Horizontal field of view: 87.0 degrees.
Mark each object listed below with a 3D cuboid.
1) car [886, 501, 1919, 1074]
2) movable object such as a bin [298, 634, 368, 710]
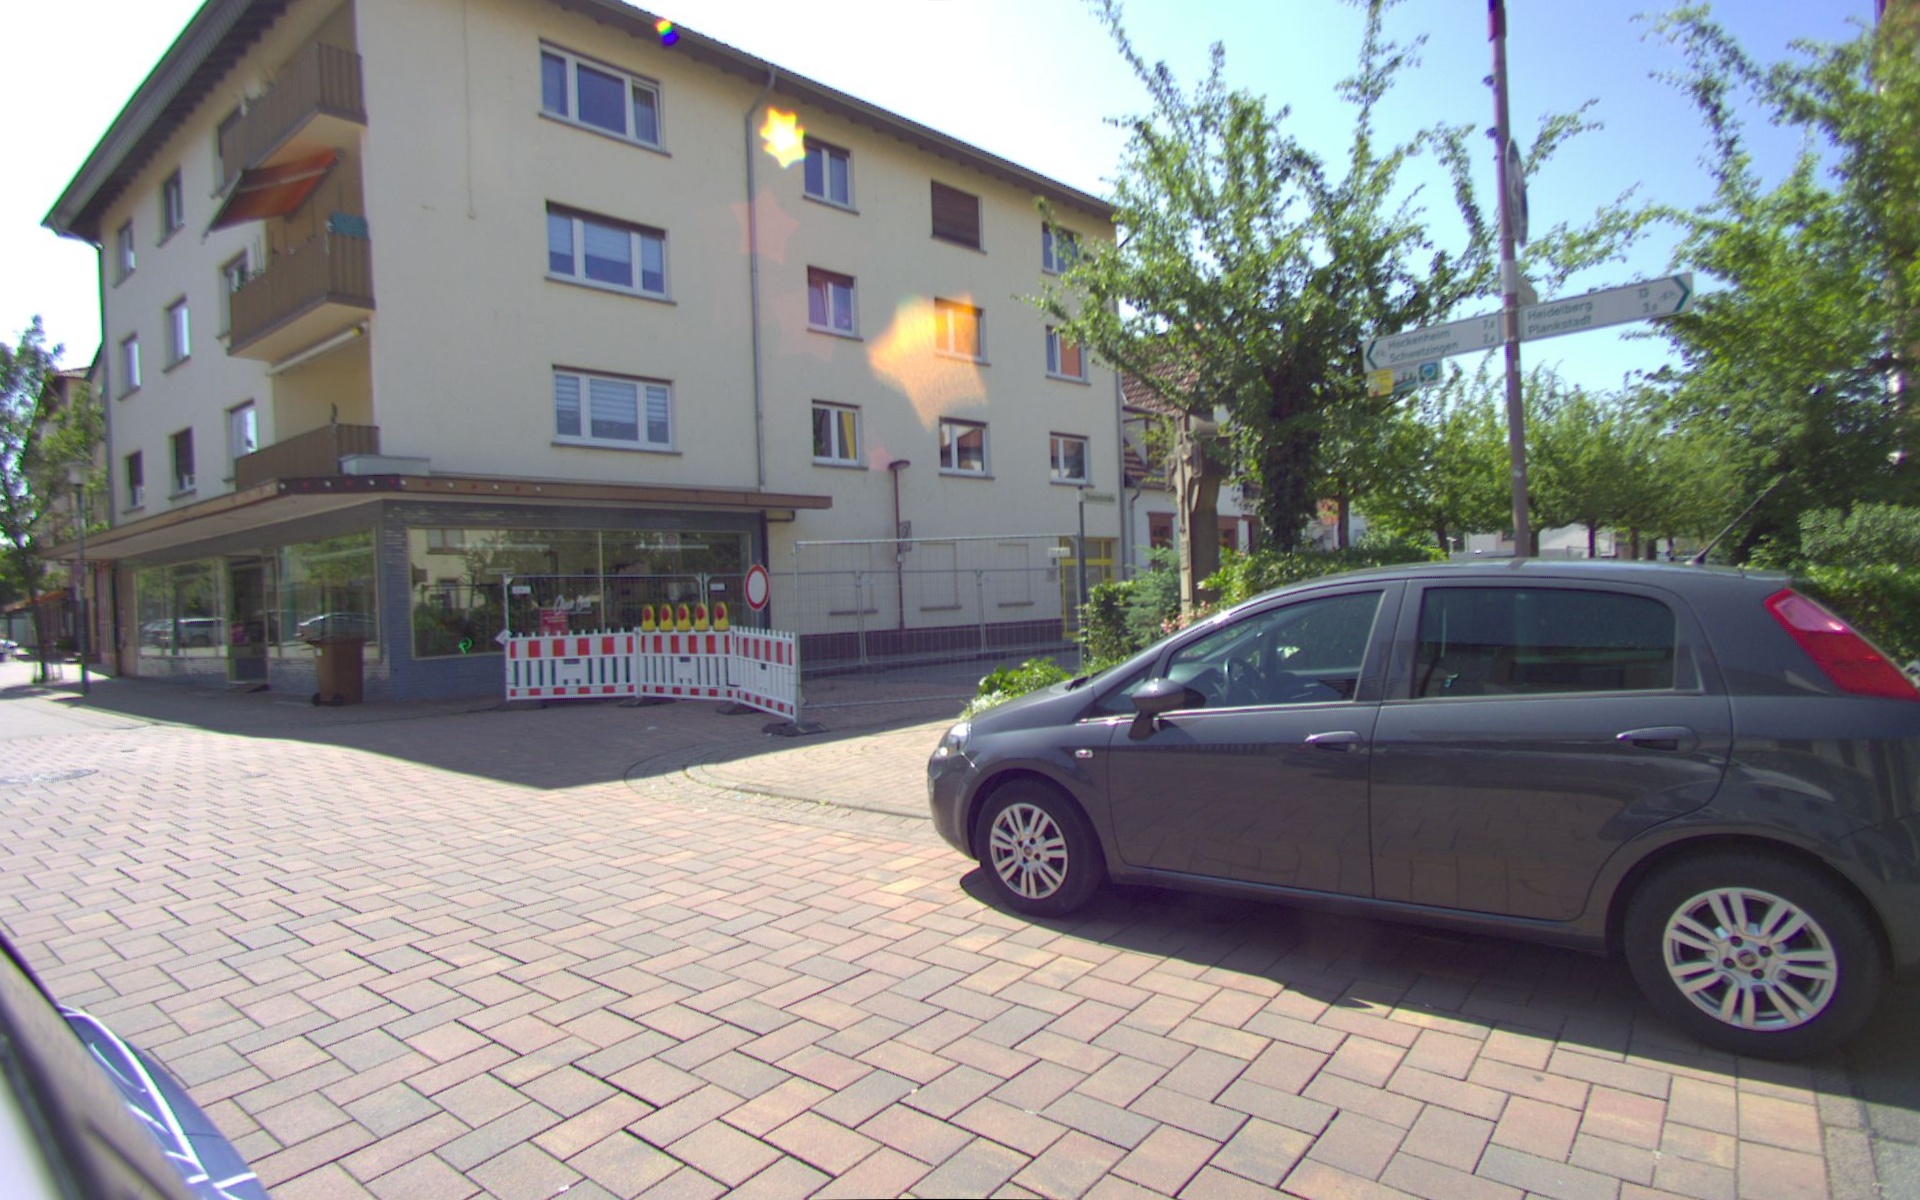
[{"bbox_3d":[1.726,0.526,4.265,3.848,1.508,1.687,-2,0,36],"label":"car"},{"bbox_3d":[-9.556,1.080,15.425,0.662,1.078,0.650,-2,1,33],"label":"movable object such as a bin"}]
